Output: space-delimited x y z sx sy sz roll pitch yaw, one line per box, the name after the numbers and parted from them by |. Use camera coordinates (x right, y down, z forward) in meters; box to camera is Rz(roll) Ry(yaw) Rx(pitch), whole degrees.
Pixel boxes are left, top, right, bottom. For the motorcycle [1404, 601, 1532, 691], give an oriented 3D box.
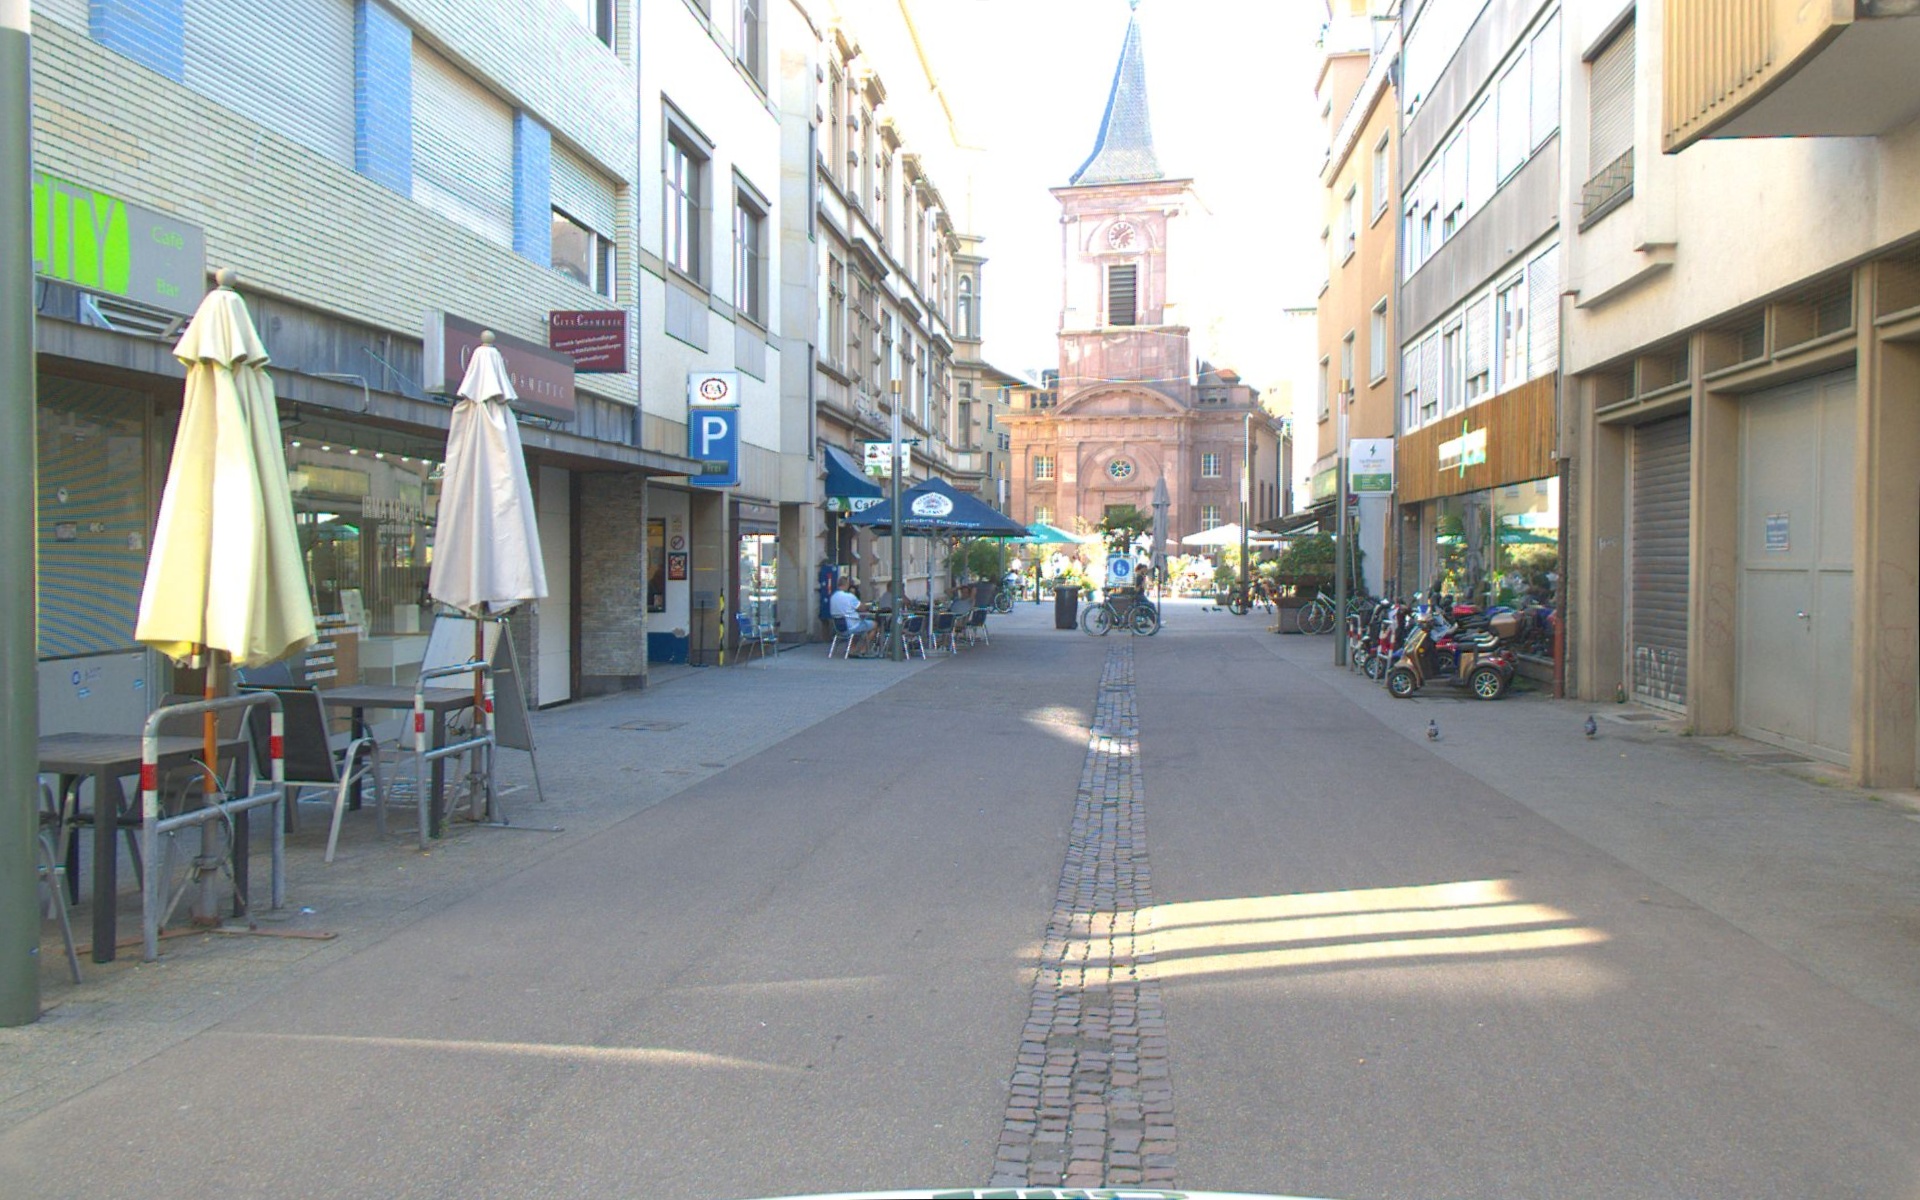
6.343 0.564 20.668 1.486 1.094 0.412 0 1 24 | motorcycle

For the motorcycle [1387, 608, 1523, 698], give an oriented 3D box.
5.964 0.626 19.930 1.532 1.060 0.372 0 1 24 | motorcycle

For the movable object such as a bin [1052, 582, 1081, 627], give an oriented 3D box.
2.623 0.111 40.636 0.706 1.093 0.374 0 1 4 | movable object such as a bin

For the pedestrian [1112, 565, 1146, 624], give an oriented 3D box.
4.266 -0.148 41.729 0.865 1.489 0.731 0 1 6 | pedestrian

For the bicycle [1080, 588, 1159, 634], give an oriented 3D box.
3.621 0.251 37.596 1.786 1.022 0.381 0 1 2 | bicycle

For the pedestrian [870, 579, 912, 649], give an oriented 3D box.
-1.256 0.251 30.124 0.749 1.254 0.831 0 1 -2 | pedestrian

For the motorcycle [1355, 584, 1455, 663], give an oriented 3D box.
6.868 0.356 25.531 1.453 1.202 0.412 0 1 21 | motorcycle

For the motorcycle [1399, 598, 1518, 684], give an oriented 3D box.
6.522 0.527 21.669 1.454 1.094 0.412 0 1 24 | motorcycle

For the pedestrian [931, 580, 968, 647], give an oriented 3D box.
-0.198 0.245 30.765 0.678 1.236 0.583 0 1 -2 | pedestrian

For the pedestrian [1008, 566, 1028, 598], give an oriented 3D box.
2.290 -0.716 65.494 0.685 1.239 0.720 0 1 11 | pedestrian

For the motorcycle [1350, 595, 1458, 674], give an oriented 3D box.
6.364 0.484 23.736 1.454 1.094 0.412 0 1 24 | motorcycle

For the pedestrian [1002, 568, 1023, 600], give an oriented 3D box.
2.046 -0.624 64.080 0.685 1.239 0.720 0 1 11 | pedestrian

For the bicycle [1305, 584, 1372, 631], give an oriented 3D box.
8.314 0.160 36.352 1.432 1.022 0.573 0 1 13 | bicycle

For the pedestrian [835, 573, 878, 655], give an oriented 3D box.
-1.788 0.226 28.553 0.704 1.392 0.709 0 1 -6 | pedestrian

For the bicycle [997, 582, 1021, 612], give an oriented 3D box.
1.485 -0.101 49.816 0.447 0.864 2.148 0 1 9 | bicycle

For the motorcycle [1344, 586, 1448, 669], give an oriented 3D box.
6.476 0.398 24.565 1.453 1.202 0.412 0 1 21 | motorcycle

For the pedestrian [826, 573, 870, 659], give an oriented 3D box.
-1.855 0.253 27.383 0.694 1.392 0.719 0 1 -6 | pedestrian

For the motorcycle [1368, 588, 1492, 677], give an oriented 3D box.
6.497 0.444 22.867 1.592 1.195 0.480 0 1 24 | motorcycle

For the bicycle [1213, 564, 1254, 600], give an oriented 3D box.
10.329 -0.674 62.450 1.565 1.330 0.363 0 1 -24 | bicycle

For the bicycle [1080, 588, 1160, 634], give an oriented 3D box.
3.594 0.239 37.203 1.786 1.022 0.381 0 1 2 | bicycle
